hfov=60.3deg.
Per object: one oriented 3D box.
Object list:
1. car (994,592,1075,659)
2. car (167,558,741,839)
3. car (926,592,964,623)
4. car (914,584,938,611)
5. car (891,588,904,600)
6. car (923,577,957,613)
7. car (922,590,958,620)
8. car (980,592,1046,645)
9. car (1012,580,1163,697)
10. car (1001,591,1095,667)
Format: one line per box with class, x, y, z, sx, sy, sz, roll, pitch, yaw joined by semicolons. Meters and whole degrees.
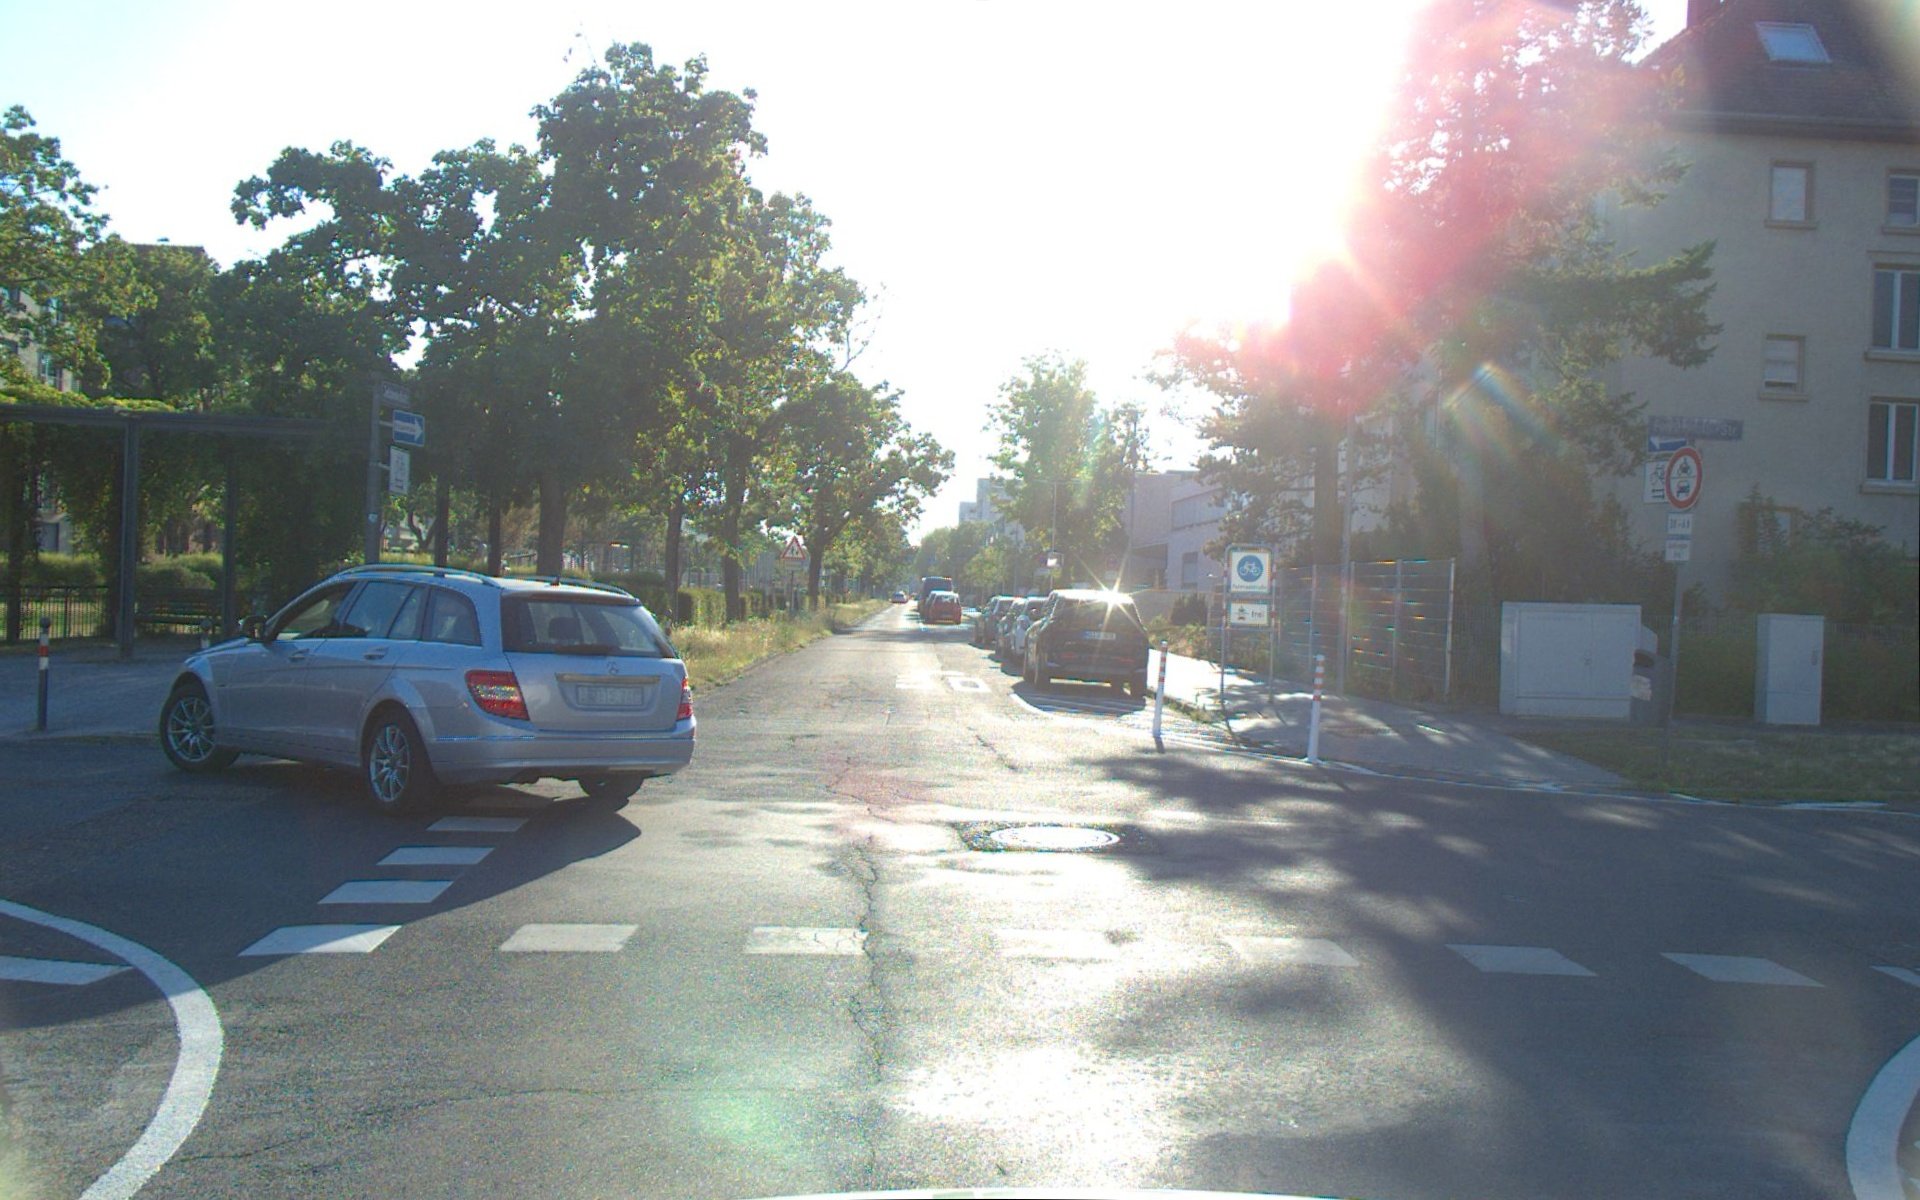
car;1.826;0.609;41.489;1.695;1.544;3.758;2;0;-2
car;-3.492;0.507;11.001;4.143;1.498;1.811;2;0;43
car;-0.796;0.369;85.456;1.722;1.544;3.757;2;0;-4
car;-2.911;-0.216;142.296;1.953;2.160;3.999;2;0;-2
car;-8.811;-0.826;232.639;1.828;1.646;3.998;2;0;-3
car;-1.265;-0.308;102.948;1.953;2.160;3.999;2;0;-2
car;-1.106;0.241;89.522;1.696;1.544;3.757;2;0;-4
car;1.586;0.543;50.651;1.729;1.552;3.771;1;0;-2
car;2.041;0.584;27.705;1.782;1.670;4.212;5;0;-5
car;1.890;0.604;36.504;1.729;1.552;3.771;1;0;-2
